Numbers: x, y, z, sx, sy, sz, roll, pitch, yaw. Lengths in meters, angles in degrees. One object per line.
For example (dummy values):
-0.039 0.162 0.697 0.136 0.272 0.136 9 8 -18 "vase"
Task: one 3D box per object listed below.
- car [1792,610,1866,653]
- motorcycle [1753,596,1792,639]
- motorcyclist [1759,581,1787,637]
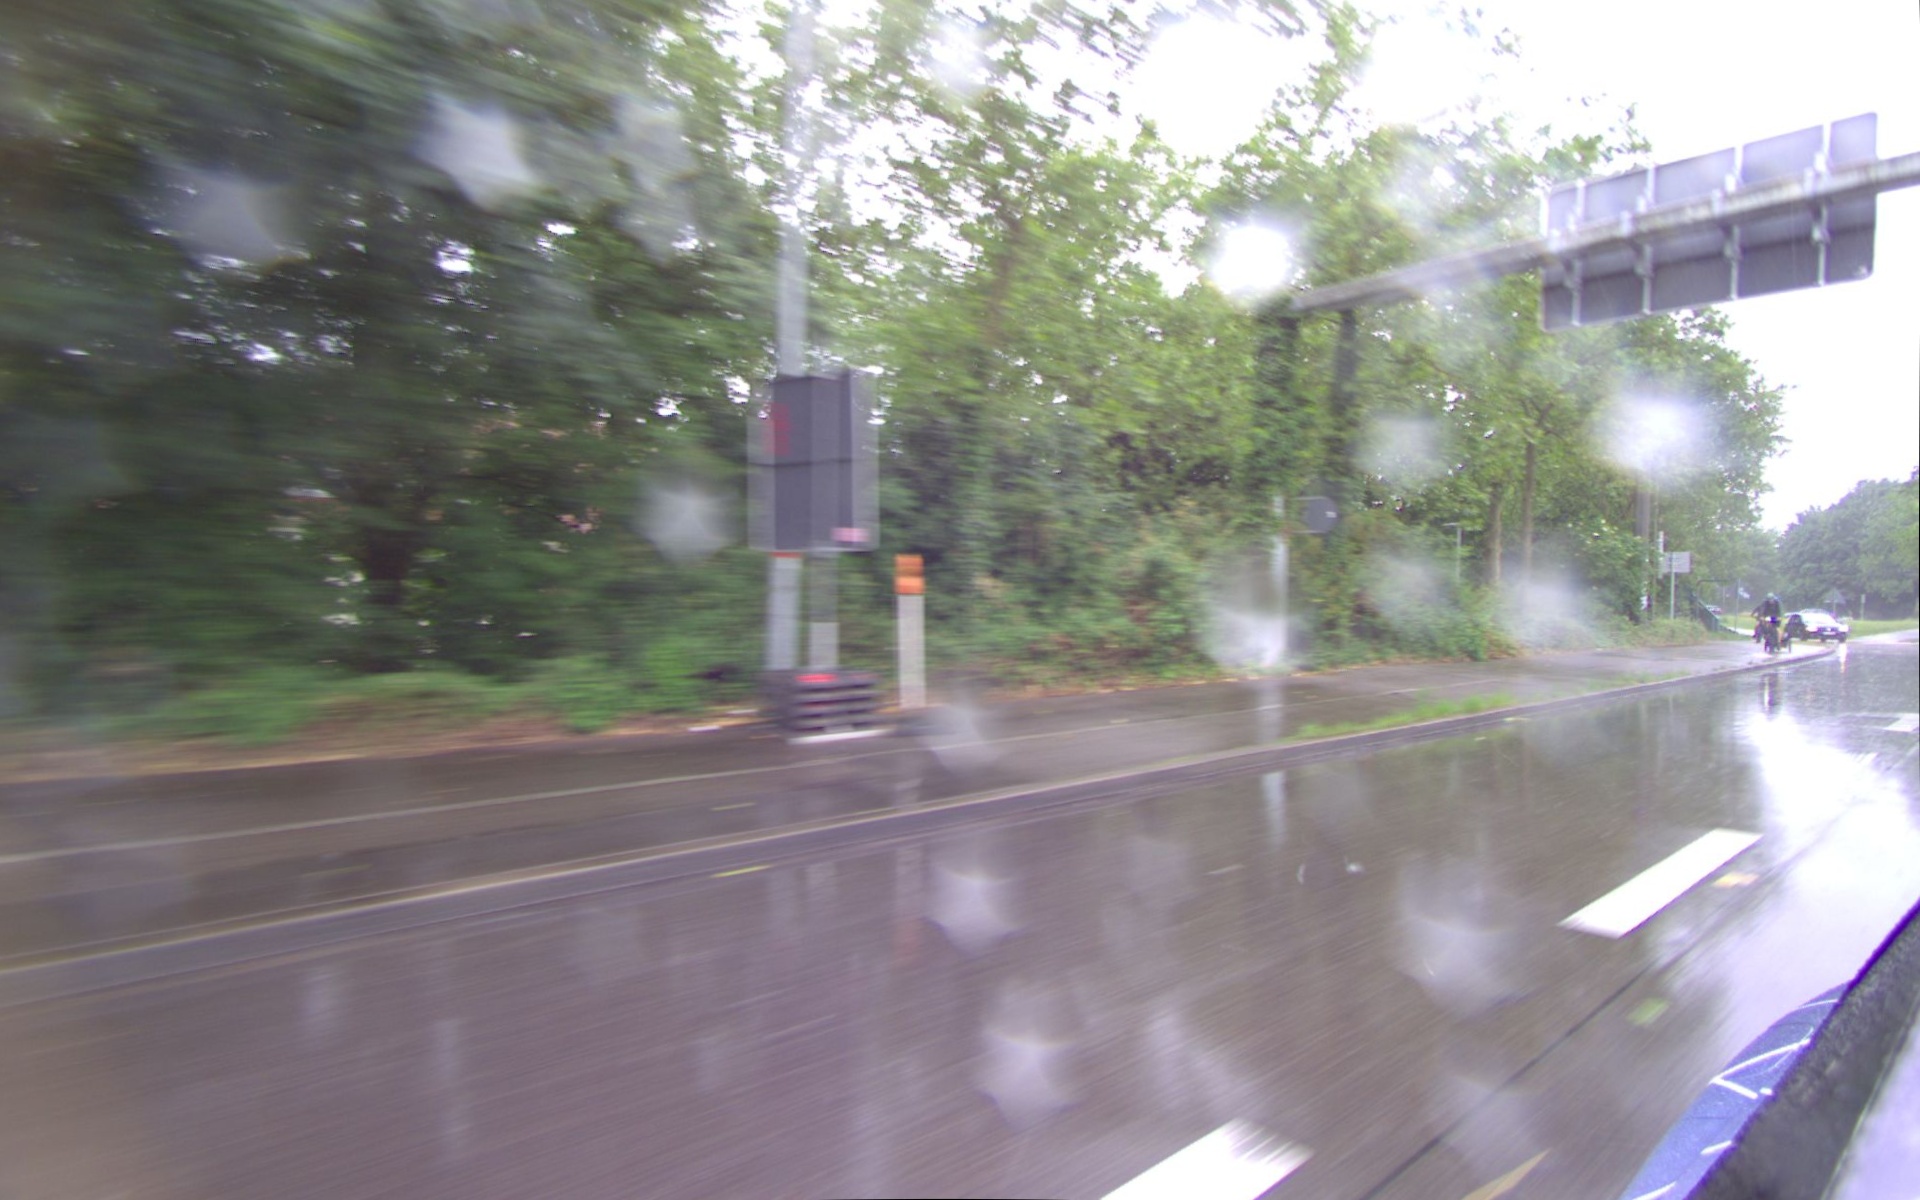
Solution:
43.929 1.545 51.255 1.981 2.039 3.962 0 0 27 "car"
33.729 0.695 41.994 2.541 1.742 0.844 0 0 -42 "motorcycle"
33.709 0.376 41.960 0.900 2.287 0.762 0 0 -41 "motorcyclist"
